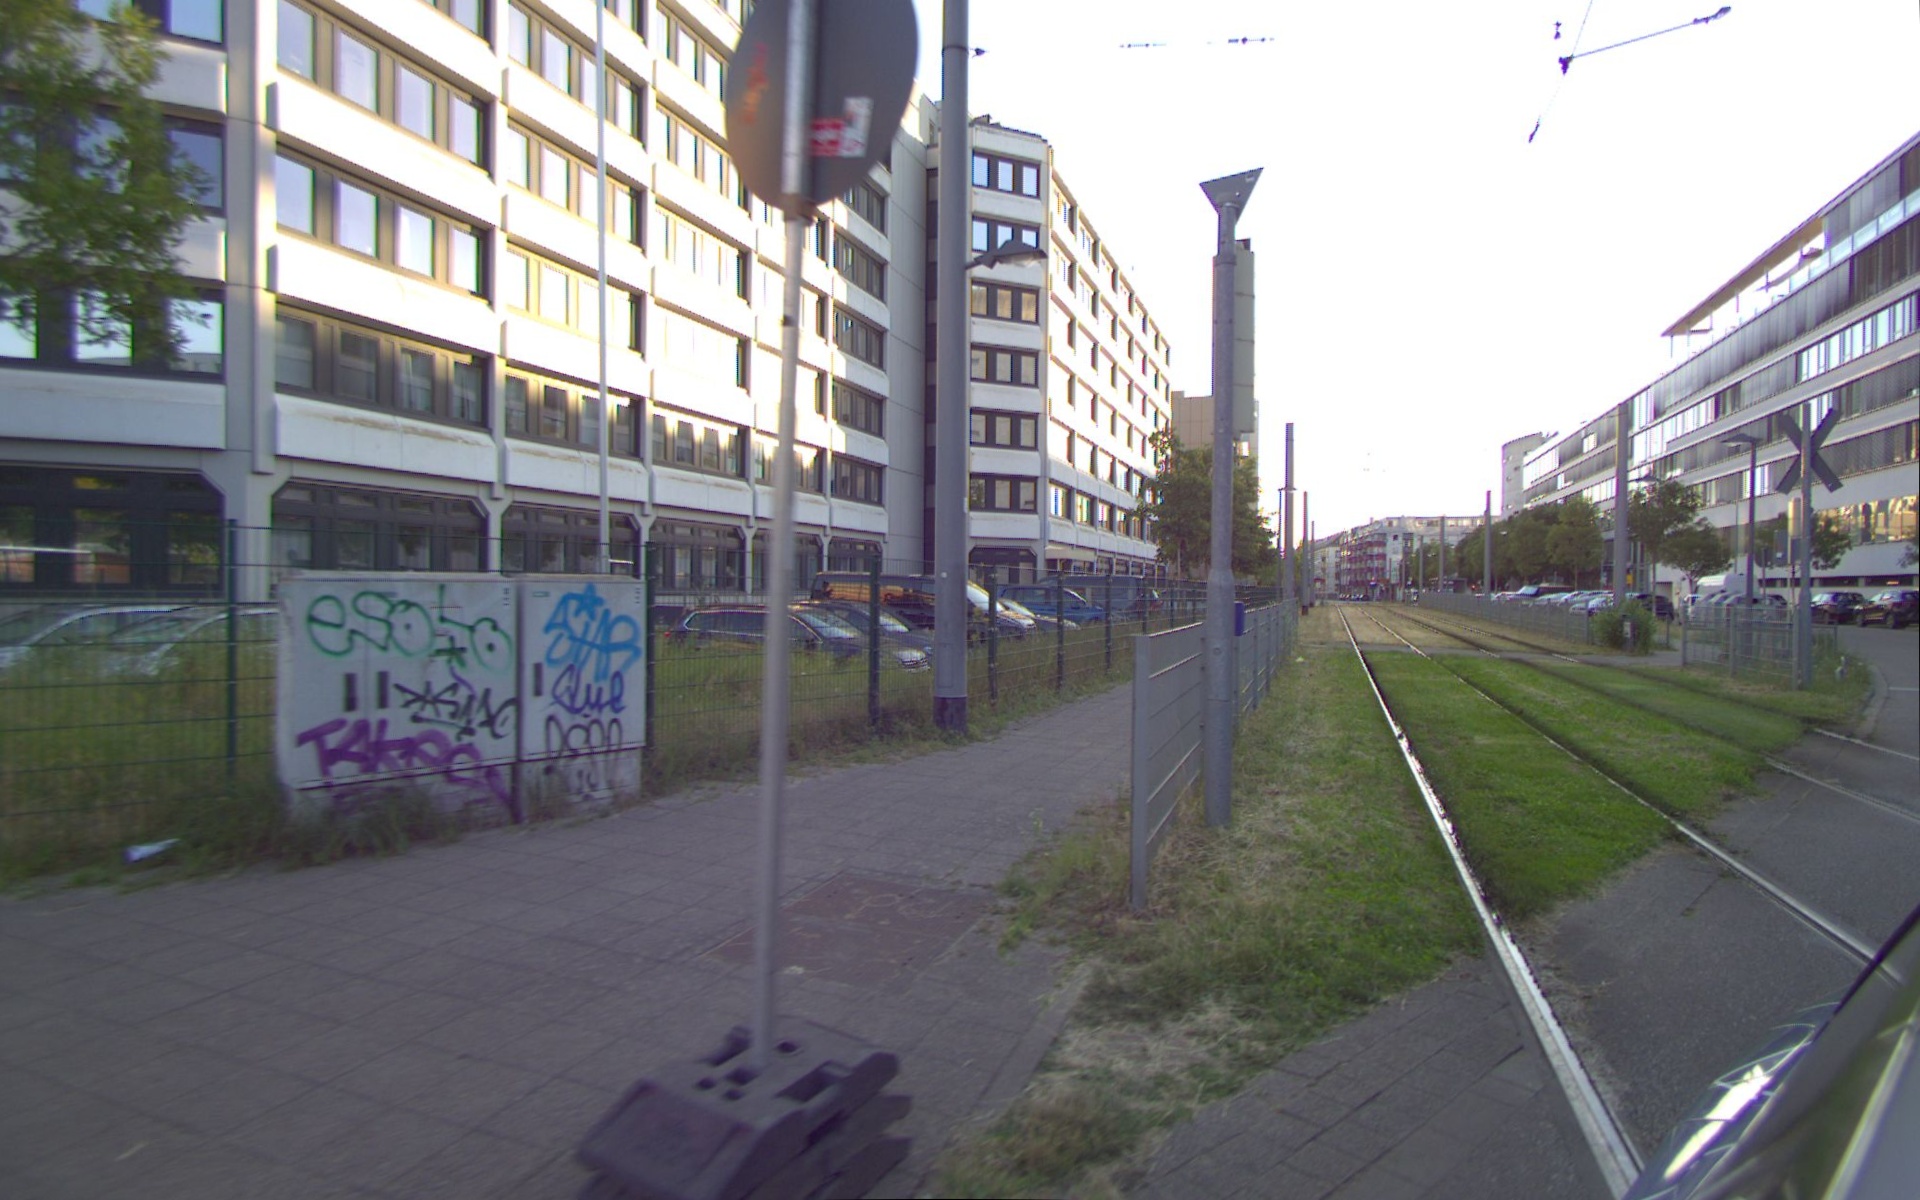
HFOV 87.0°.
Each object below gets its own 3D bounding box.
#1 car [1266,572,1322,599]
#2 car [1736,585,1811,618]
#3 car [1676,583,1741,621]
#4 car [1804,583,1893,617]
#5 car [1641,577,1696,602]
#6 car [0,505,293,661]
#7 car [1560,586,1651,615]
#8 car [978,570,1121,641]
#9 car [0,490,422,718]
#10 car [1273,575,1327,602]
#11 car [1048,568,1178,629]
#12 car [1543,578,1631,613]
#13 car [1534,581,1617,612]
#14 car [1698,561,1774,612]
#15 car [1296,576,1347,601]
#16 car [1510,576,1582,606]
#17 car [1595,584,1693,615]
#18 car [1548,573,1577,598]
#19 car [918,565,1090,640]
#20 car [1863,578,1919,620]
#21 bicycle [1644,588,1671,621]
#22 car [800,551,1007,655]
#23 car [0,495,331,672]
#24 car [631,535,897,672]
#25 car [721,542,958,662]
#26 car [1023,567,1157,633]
[{"bbox_3d":[25.564,-1.117,77.508,3.949,2.039,1.987,1,0,20],"label":"car"},{"bbox_3d":[45.727,0.067,56.979,1.773,1.723,3.980,2,1,16],"label":"car"},{"bbox_3d":[31.482,0.073,42.647,1.616,1.530,3.385,1,1,27],"label":"car"},{"bbox_3d":[42.801,-0.005,48.880,1.774,1.571,3.976,-1,0,18],"label":"car"},{"bbox_3d":[46.766,-0.706,66.903,1.839,1.516,4.641,4,2,21],"label":"car"},{"bbox_3d":[-12.297,-0.237,14.807,3.934,2.039,1.995,0,0,-45],"label":"car"},{"bbox_3d":[32.759,0.012,51.391,3.915,1.393,1.722,1,0,-17],"label":"car"},{"bbox_3d":[2.755,0.140,30.919,3.954,2.039,1.985,1,0,23],"label":"car"},{"bbox_3d":[-8.220,0.022,10.854,3.934,2.039,1.995,0,0,-45],"label":"car"},{"bbox_3d":[26.905,-0.922,80.160,3.949,2.039,1.987,1,0,20],"label":"car"},{"bbox_3d":[5.417,-0.094,35.749,4.226,2.039,1.985,1,1,23],"label":"car"},{"bbox_3d":[33.349,-0.243,53.817,3.916,1.779,1.721,1,0,-14],"label":"car"},{"bbox_3d":[34.257,-0.177,56.350,3.916,1.664,1.721,1,0,-14],"label":"car"},{"bbox_3d":[47.791,-0.825,62.522,1.982,2.911,6.210,2,1,22],"label":"car"},{"bbox_3d":[30.136,-0.972,84.581,3.949,2.039,1.987,1,0,20],"label":"car"},{"bbox_3d":[39.125,-0.591,67.545,4.085,1.984,1.721,1,0,-14],"label":"car"},{"bbox_3d":[32.137,-0.033,47.595,3.915,1.393,1.722,1,0,-17],"label":"car"},{"bbox_3d":[65.835,-1.613,110.622,1.974,2.617,3.976,0,1,19],"label":"car"},{"bbox_3d":[1.135,0.023,25.911,3.958,1.772,1.983,1,0,25],"label":"car"},{"bbox_3d":[40.542,-0.047,43.006,1.774,1.707,3.976,1,1,18],"label":"car"},{"bbox_3d":[24.638,0.154,35.724,0.540,1.149,1.896,1,0,42],"label":"bicycle"},{"bbox_3d":[-1.193,0.014,21.578,3.958,2.039,1.983,1,0,25],"label":"car"},{"bbox_3d":[-10.816,-0.207,13.350,3.934,2.039,1.995,0,0,-45],"label":"car"},{"bbox_3d":[-3.257,0.011,16.831,3.958,2.039,1.983,1,0,25],"label":"car"},{"bbox_3d":[-2.240,-0.005,18.852,3.958,2.039,1.983,1,0,25],"label":"car"},{"bbox_3d":[4.243,-0.034,32.914,3.954,2.039,1.985,1,1,23],"label":"car"}]
